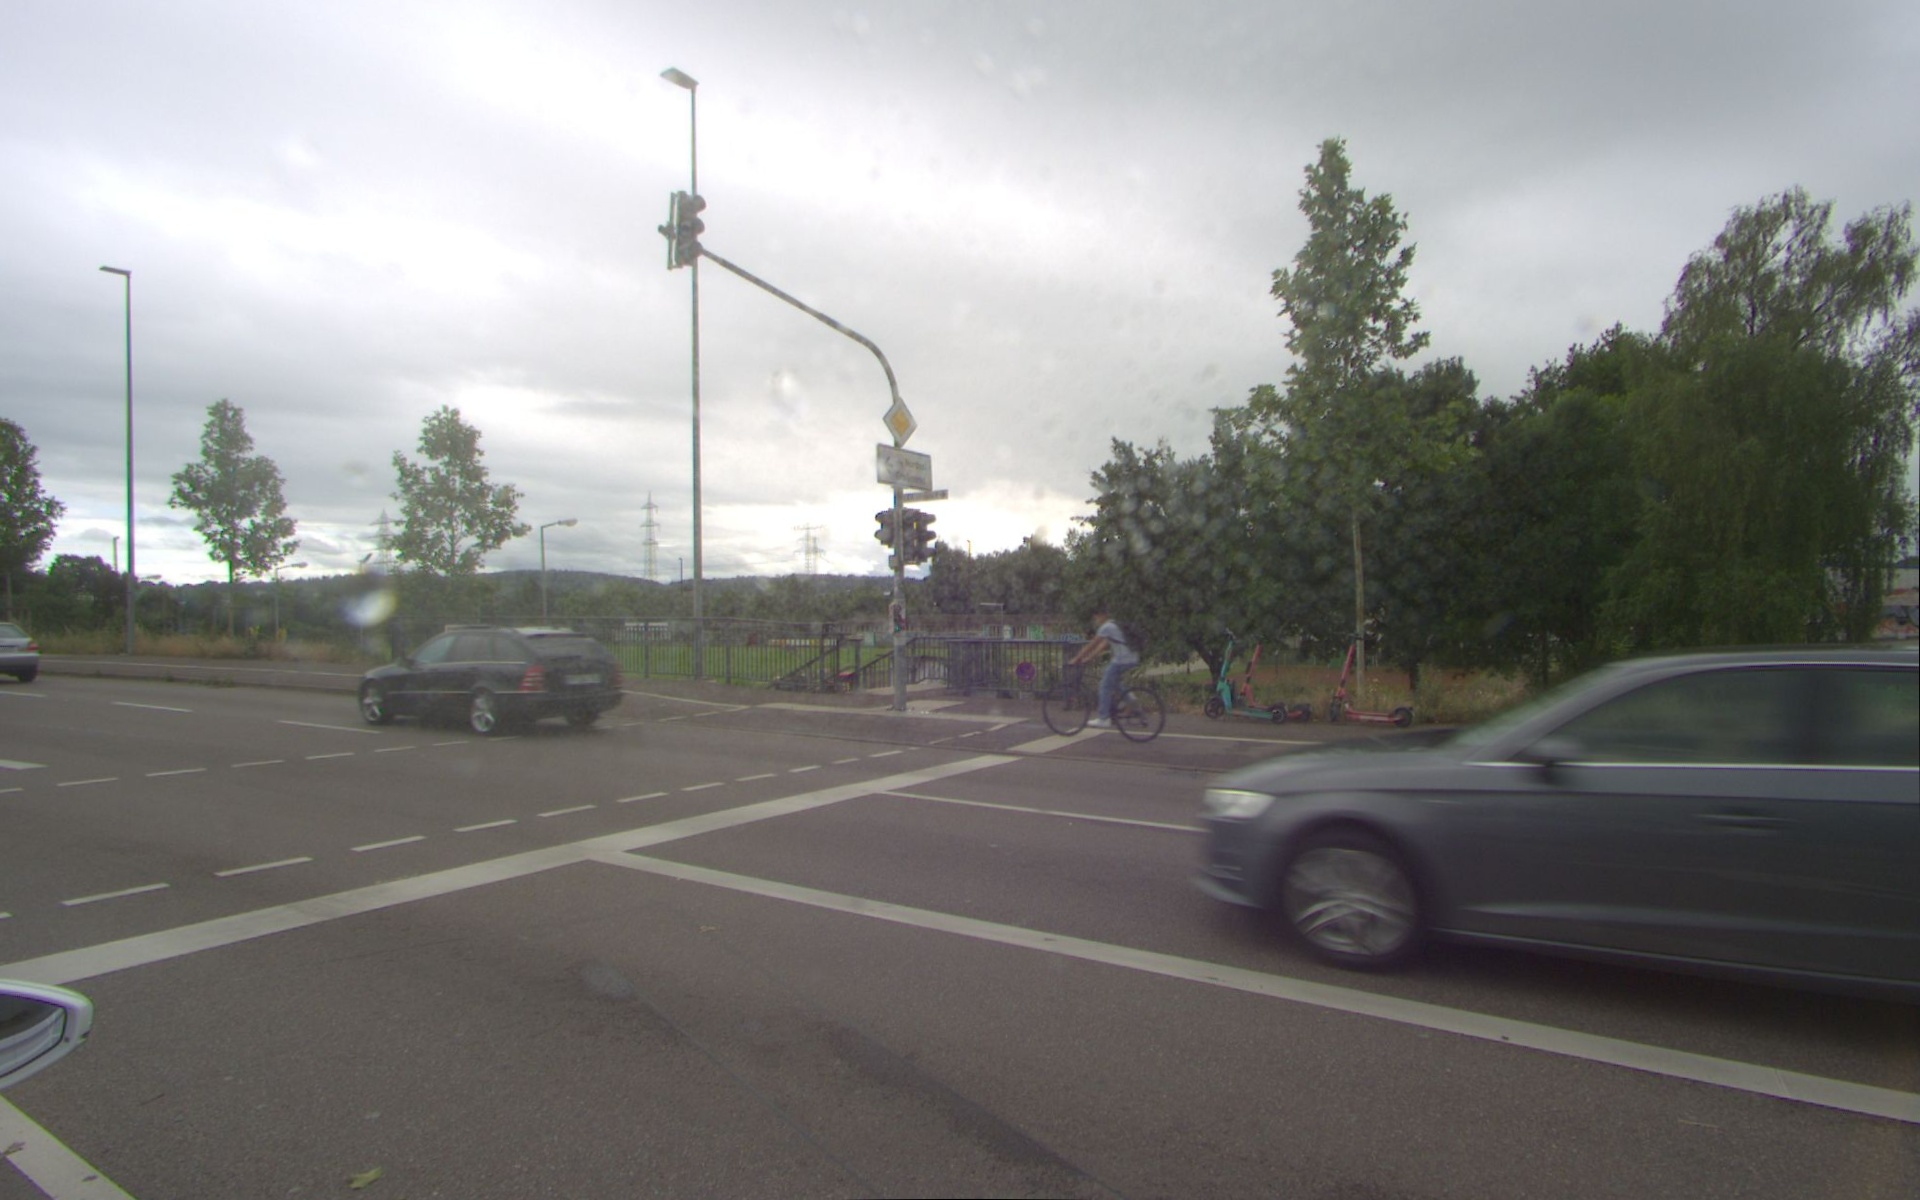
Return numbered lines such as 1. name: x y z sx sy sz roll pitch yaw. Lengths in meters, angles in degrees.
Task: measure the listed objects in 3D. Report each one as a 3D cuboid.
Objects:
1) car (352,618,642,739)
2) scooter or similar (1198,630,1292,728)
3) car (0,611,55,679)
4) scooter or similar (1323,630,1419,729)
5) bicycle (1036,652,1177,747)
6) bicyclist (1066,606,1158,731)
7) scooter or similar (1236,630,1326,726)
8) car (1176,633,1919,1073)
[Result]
1. car: -6.735 1.024 14.459 4.255 1.498 1.732 0 0 31
2. scooter or similar: 3.906 1.059 13.751 1.141 1.260 0.474 0 1 40
3. car: -23.179 1.013 23.485 3.574 1.528 1.728 0 -1 27
4. scooter or similar: 5.317 1.025 12.969 1.035 1.230 0.372 -3 -1 40
5. bicycle: 1.839 1.229 12.655 1.683 1.060 0.546 0 3 30
6. bicyclist: 1.914 0.831 12.562 0.953 1.473 0.689 0 3 30
7. scooter or similar: 4.454 1.064 13.911 1.139 1.260 0.389 0 1 35
8. car: 3.174 0.888 4.382 4.018 1.420 1.735 0 -1 33
